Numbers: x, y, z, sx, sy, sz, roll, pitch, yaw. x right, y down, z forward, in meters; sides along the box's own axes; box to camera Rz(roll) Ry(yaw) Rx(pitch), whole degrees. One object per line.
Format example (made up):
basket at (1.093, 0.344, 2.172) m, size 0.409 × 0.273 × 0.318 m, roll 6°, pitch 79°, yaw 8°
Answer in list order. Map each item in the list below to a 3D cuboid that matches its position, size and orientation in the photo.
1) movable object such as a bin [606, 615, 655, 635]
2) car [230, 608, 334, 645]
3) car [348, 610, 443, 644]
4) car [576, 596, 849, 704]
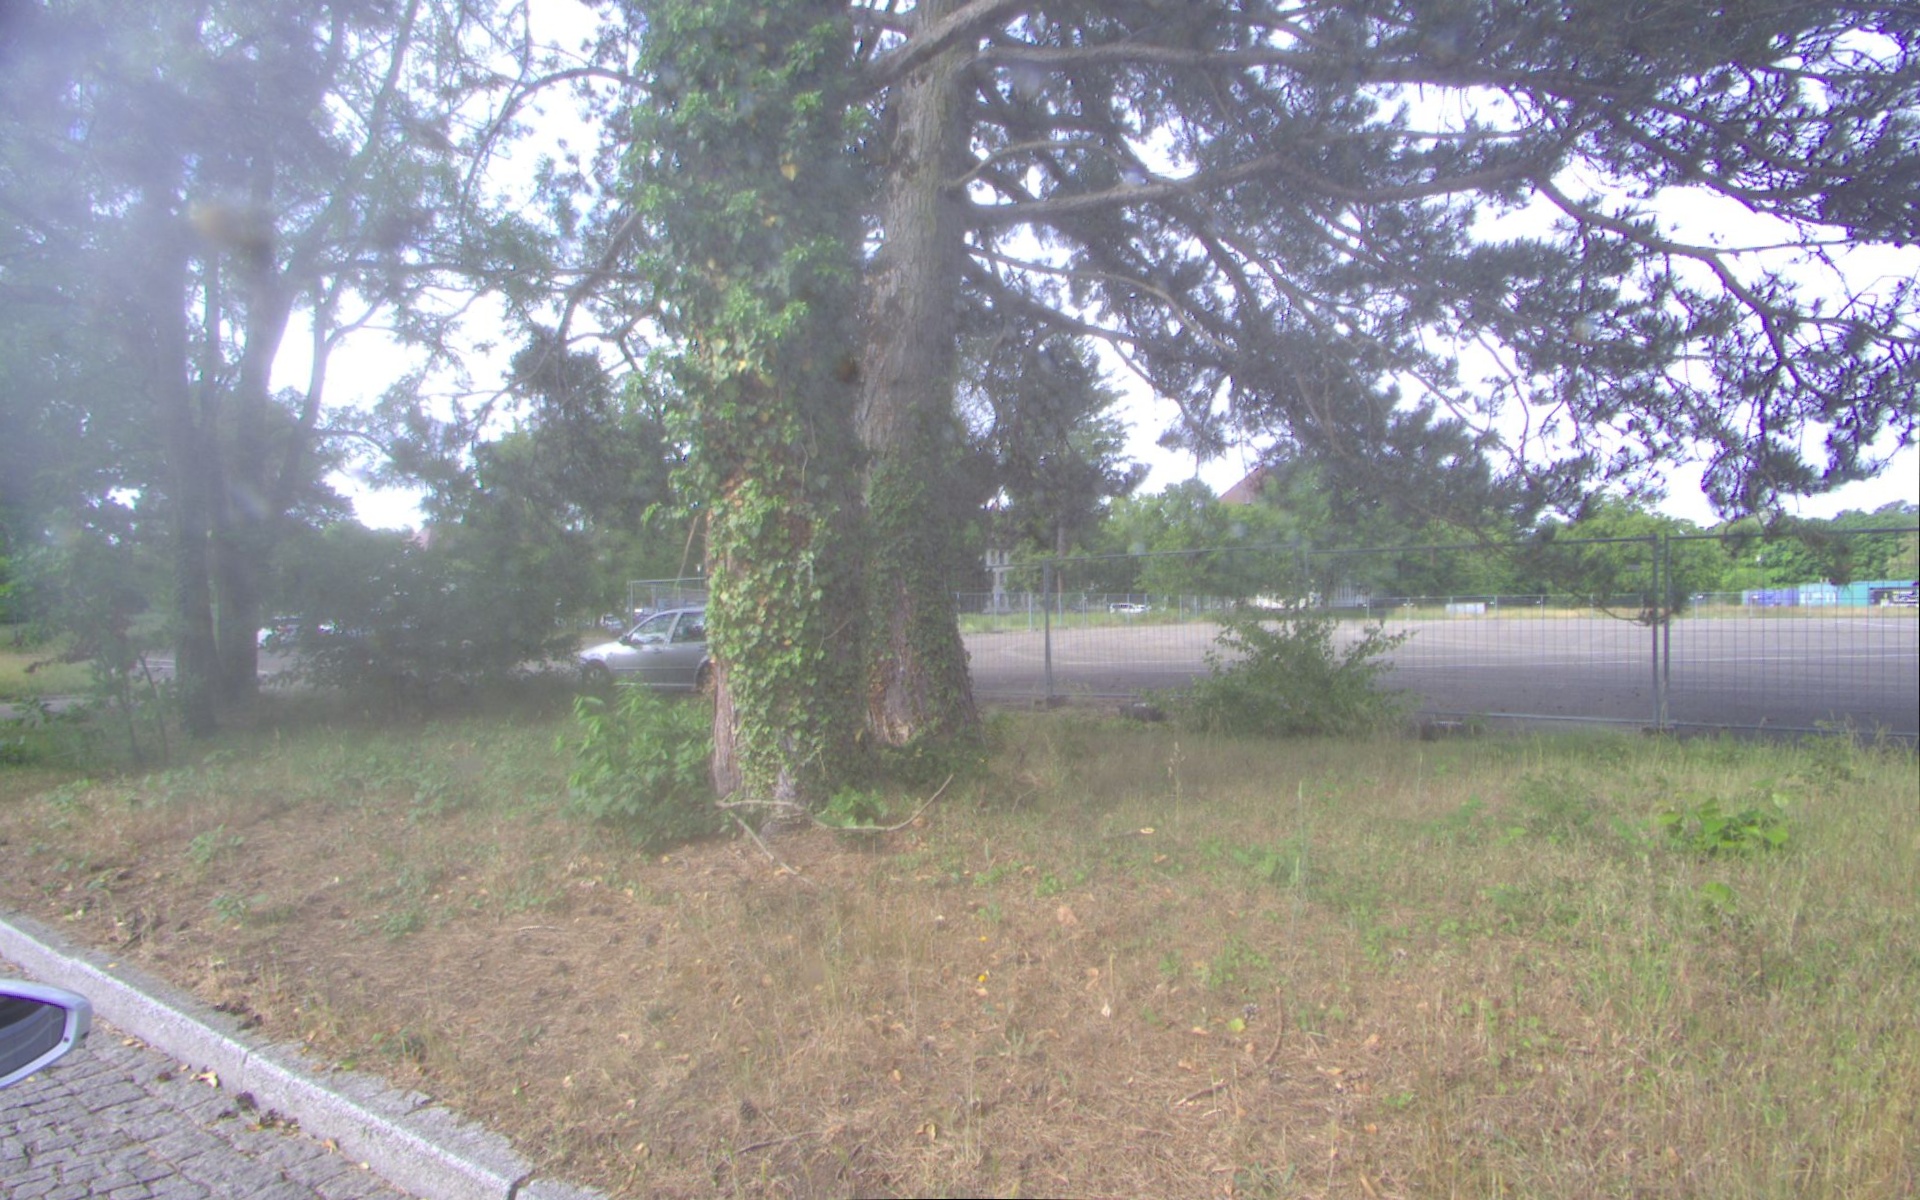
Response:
movable object such as a bin at (-14.744, 1.118, 44.768) m, size 1.928 × 0.836 × 1.181 m, roll -1°, pitch 0°, yaw 37°
car at (-29.689, 1.166, 43.848) m, size 4.359 × 1.500 × 1.991 m, roll -2°, pitch -1°, yaw 29°
car at (-27.333, 1.308, 48.489) m, size 4.359 × 1.500 × 1.991 m, roll -2°, pitch -1°, yaw 29°
car at (-3.785, 0.731, 15.125) m, size 4.014 × 1.444 × 1.644 m, roll -1°, pitch -3°, yaw 31°
